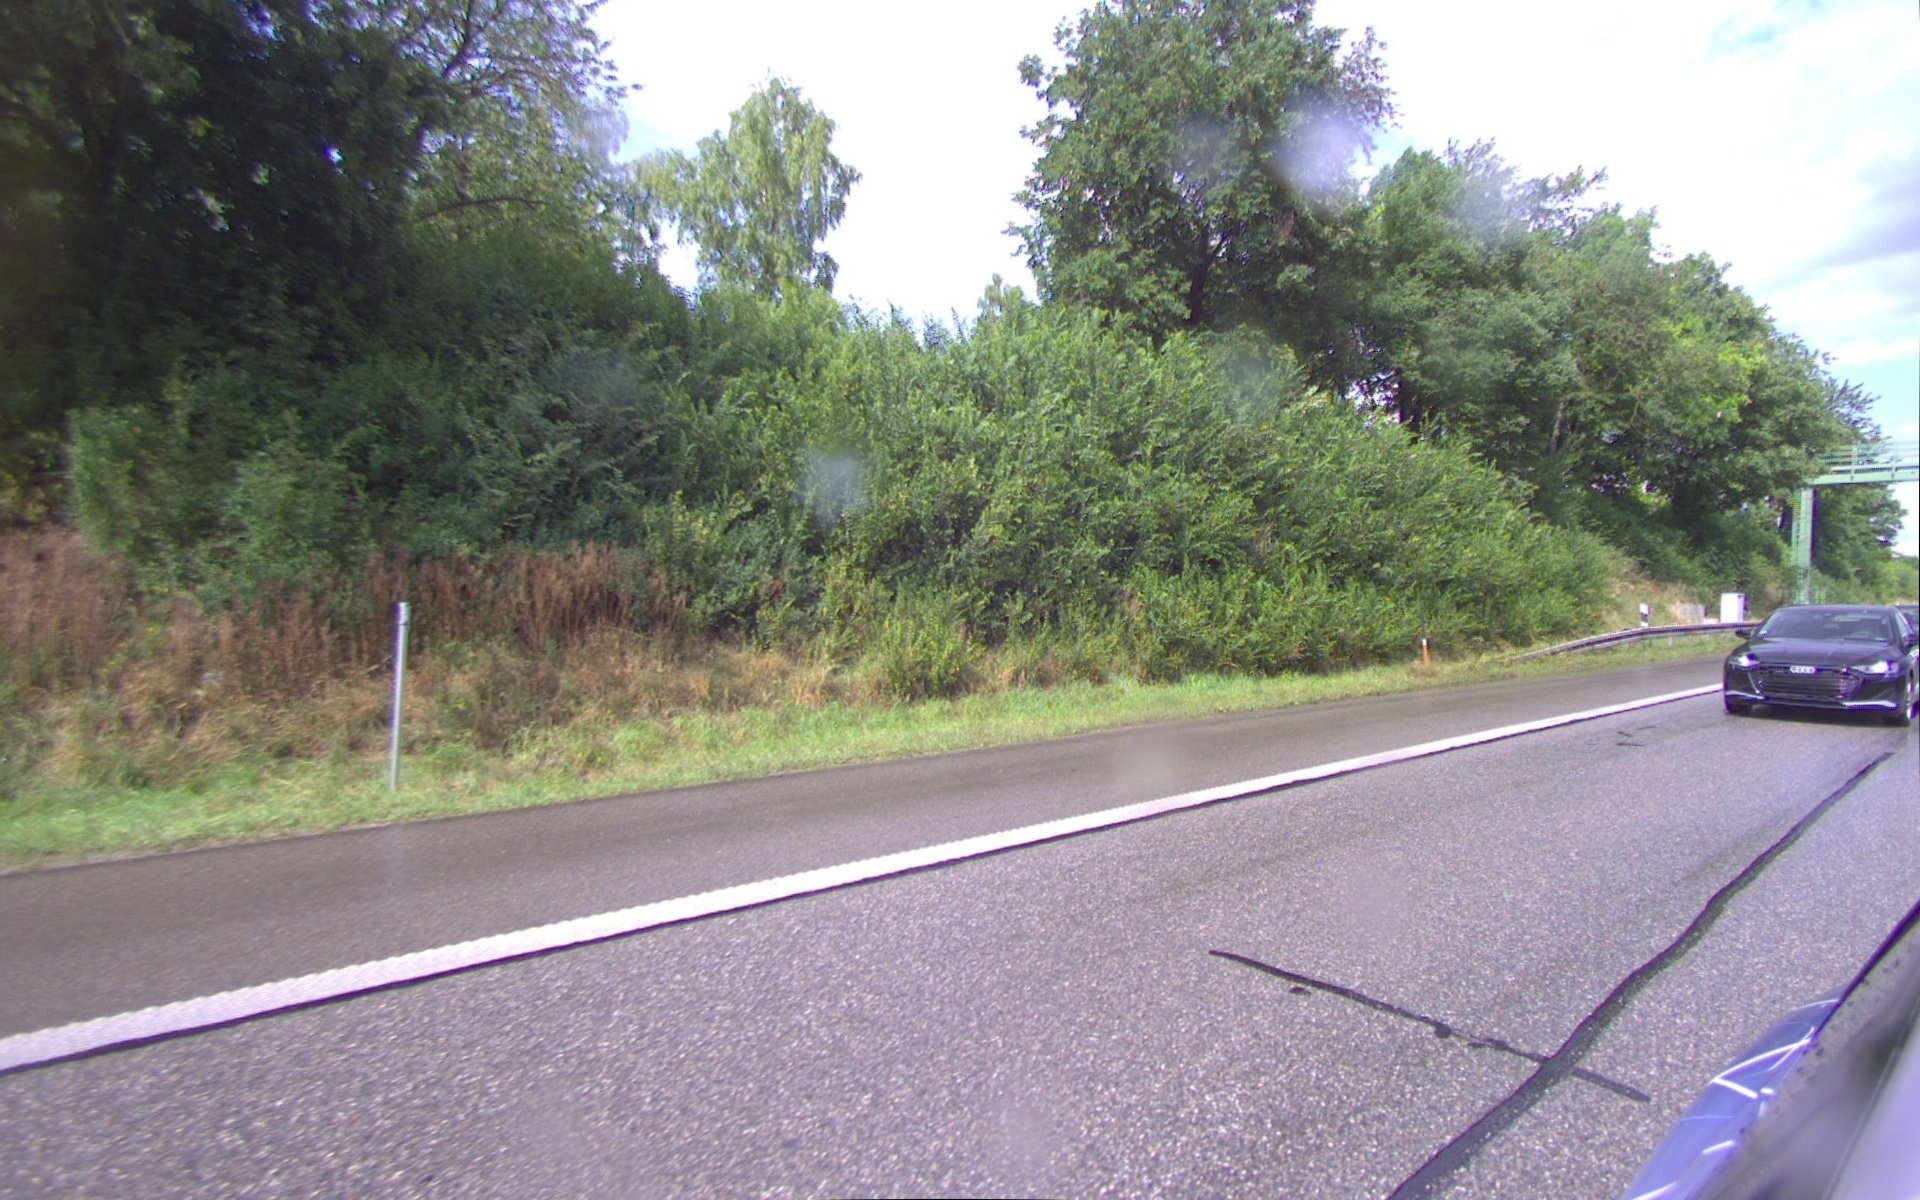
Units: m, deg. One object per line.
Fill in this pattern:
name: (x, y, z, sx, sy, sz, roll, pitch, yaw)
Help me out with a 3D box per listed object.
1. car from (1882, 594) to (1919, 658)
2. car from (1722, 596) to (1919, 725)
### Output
car: (23.832, 0.601, 24.693, 3.681, 1.474, 1.653, 0, 1, -42)
car: (11.659, 0.660, 13.345, 4.292, 1.414, 1.758, 0, 1, -41)
